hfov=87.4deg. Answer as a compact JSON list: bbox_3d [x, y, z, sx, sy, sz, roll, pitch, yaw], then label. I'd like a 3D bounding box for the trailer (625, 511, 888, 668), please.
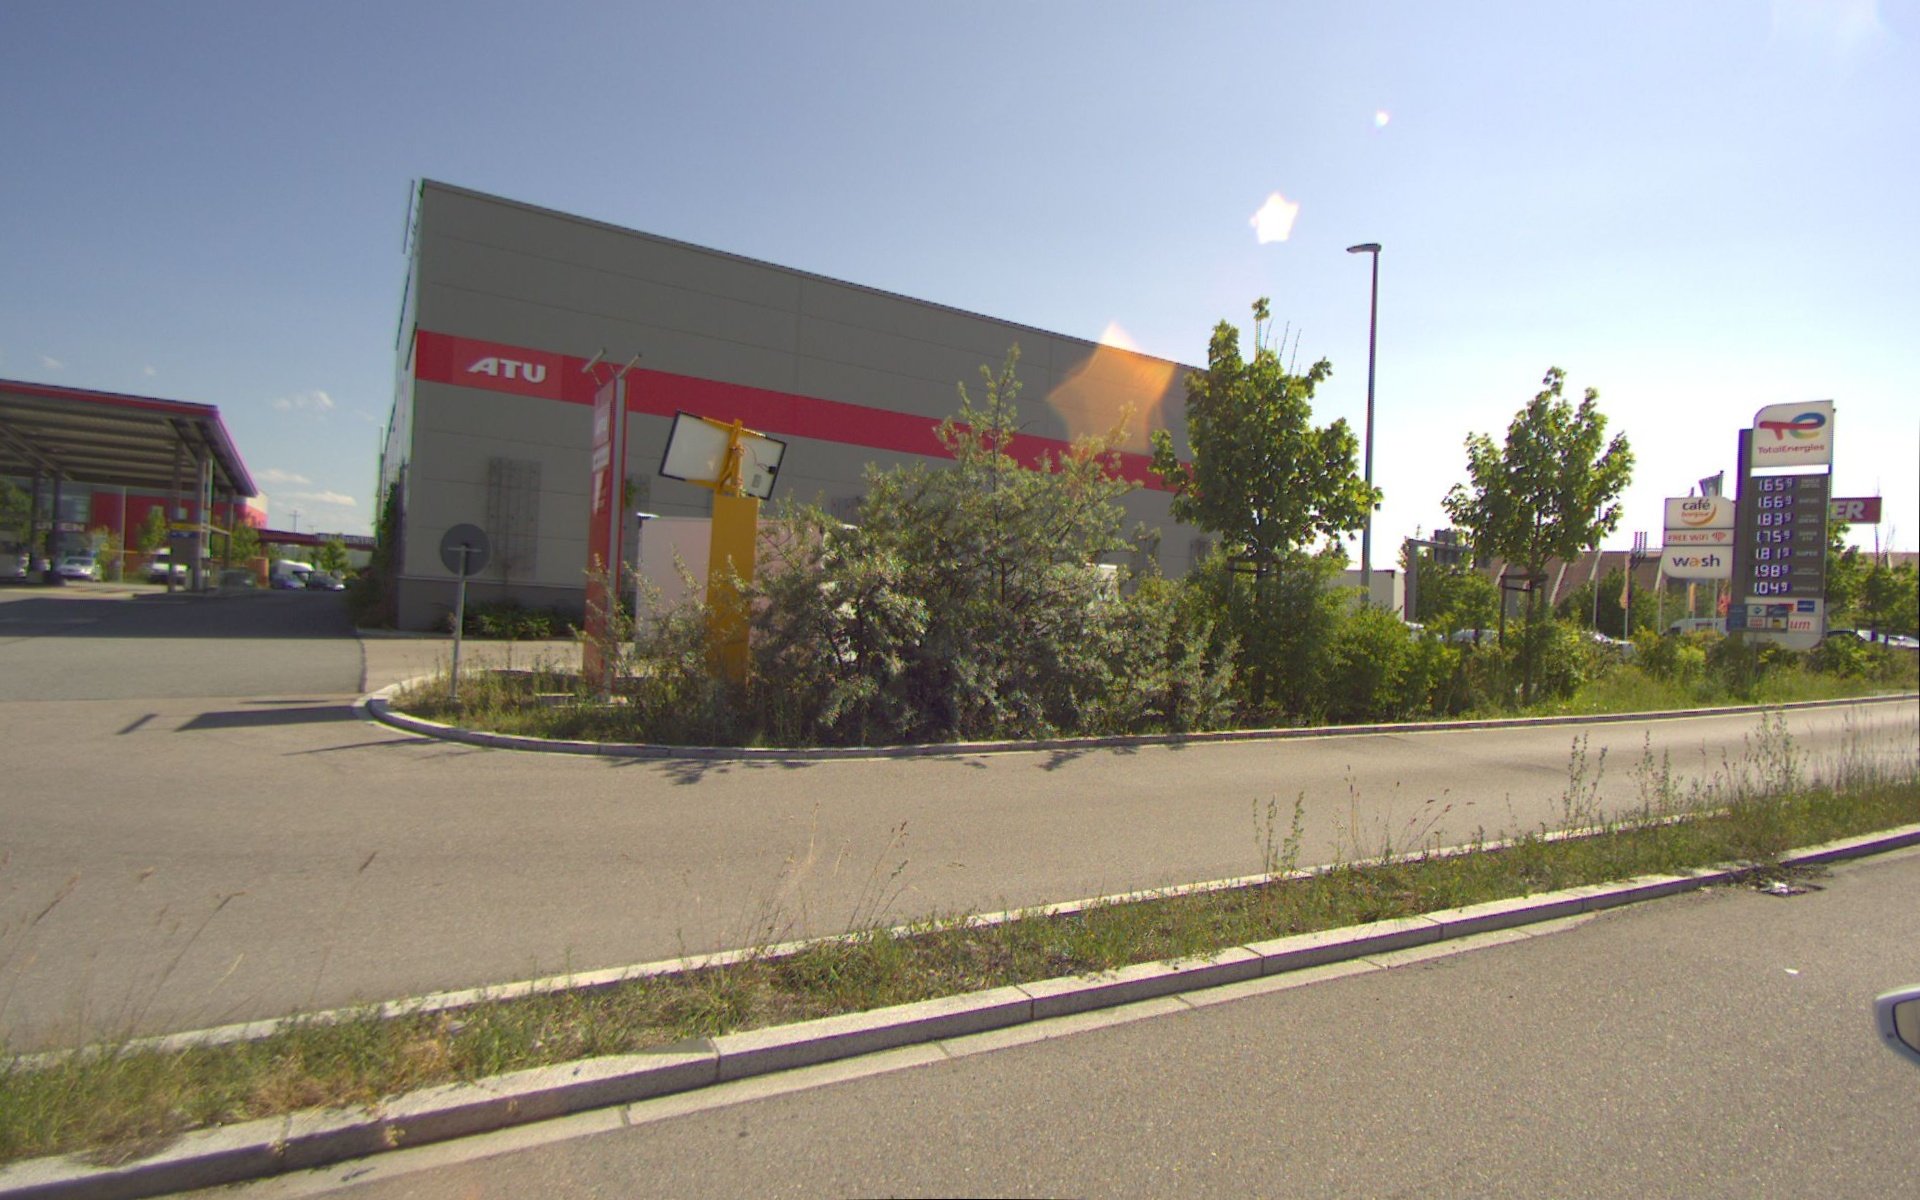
[{"bbox_3d":[-2.939,-0.180,14.716,3.145,2.040,1.999,2,1,23],"label":"trailer"}]

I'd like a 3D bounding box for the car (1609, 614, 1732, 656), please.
[{"bbox_3d":[45.260,2.183,64.109,6.185,2.264,2.028,3,1,43],"label":"car"}]

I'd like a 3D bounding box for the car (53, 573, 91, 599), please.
[{"bbox_3d":[-57.160,-0.905,64.702,1.586,1.530,3.560,2,1,-38],"label":"car"}]

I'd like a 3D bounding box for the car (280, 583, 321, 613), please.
[{"bbox_3d":[-54.148,-0.201,82.423,2.367,2.216,5.421,2,1,-38],"label":"car"}]

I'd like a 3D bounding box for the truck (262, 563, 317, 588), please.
[{"bbox_3d":[-64.742,-2.313,97.113,4.202,2.216,2.367,2,1,-31],"label":"truck"}]

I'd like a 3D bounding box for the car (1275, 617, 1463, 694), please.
[{"bbox_3d":[9.843,1.271,24.254,3.931,1.557,1.715,2,1,33],"label":"car"}]

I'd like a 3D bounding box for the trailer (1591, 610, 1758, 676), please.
[{"bbox_3d":[20.526,1.190,29.047,3.629,1.471,1.706,5,2,28],"label":"trailer"}]

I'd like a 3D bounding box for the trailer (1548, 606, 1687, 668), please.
[{"bbox_3d":[21.777,1.188,33.448,3.629,1.795,1.805,2,1,28],"label":"trailer"}]

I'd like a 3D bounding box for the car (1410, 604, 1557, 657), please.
[{"bbox_3d":[16.166,0.947,30.971,4.441,1.503,1.790,2,1,-28],"label":"car"}]

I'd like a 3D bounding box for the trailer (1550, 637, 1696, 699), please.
[{"bbox_3d":[17.049,1.712,25.885,1.380,1.340,2.874,2,1,-44],"label":"trailer"}]

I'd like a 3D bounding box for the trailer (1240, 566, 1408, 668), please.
[{"bbox_3d":[8.061,0.331,22.278,3.183,2.040,1.744,2,1,31],"label":"trailer"}]

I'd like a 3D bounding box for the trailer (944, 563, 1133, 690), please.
[{"bbox_3d":[1.417,0.424,18.014,2.691,2.040,1.994,2,1,35],"label":"trailer"}]

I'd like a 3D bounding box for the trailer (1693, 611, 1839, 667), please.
[{"bbox_3d":[27.739,1.314,34.723,3.629,1.795,1.805,0,0,28],"label":"trailer"}]

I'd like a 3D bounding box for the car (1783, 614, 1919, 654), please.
[{"bbox_3d":[38.949,1.448,43.849,1.961,1.471,4.873,2,0,0],"label":"car"}]

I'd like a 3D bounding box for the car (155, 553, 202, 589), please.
[{"bbox_3d":[-52.792,-1.961,67.888,2.367,2.216,5.421,2,1,-38],"label":"car"}]

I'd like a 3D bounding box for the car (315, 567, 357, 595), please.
[{"bbox_3d":[-51.851,-1.613,83.479,2.367,2.216,5.421,2,1,-38],"label":"car"}]

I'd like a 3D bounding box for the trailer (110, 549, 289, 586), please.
[{"bbox_3d":[-70.484,-2.992,93.630,13.037,2.796,2.367,2,1,-32],"label":"trailer"}]

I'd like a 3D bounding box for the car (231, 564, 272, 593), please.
[{"bbox_3d":[-56.698,-1.748,80.351,2.367,2.216,5.421,2,1,-38],"label":"car"}]
